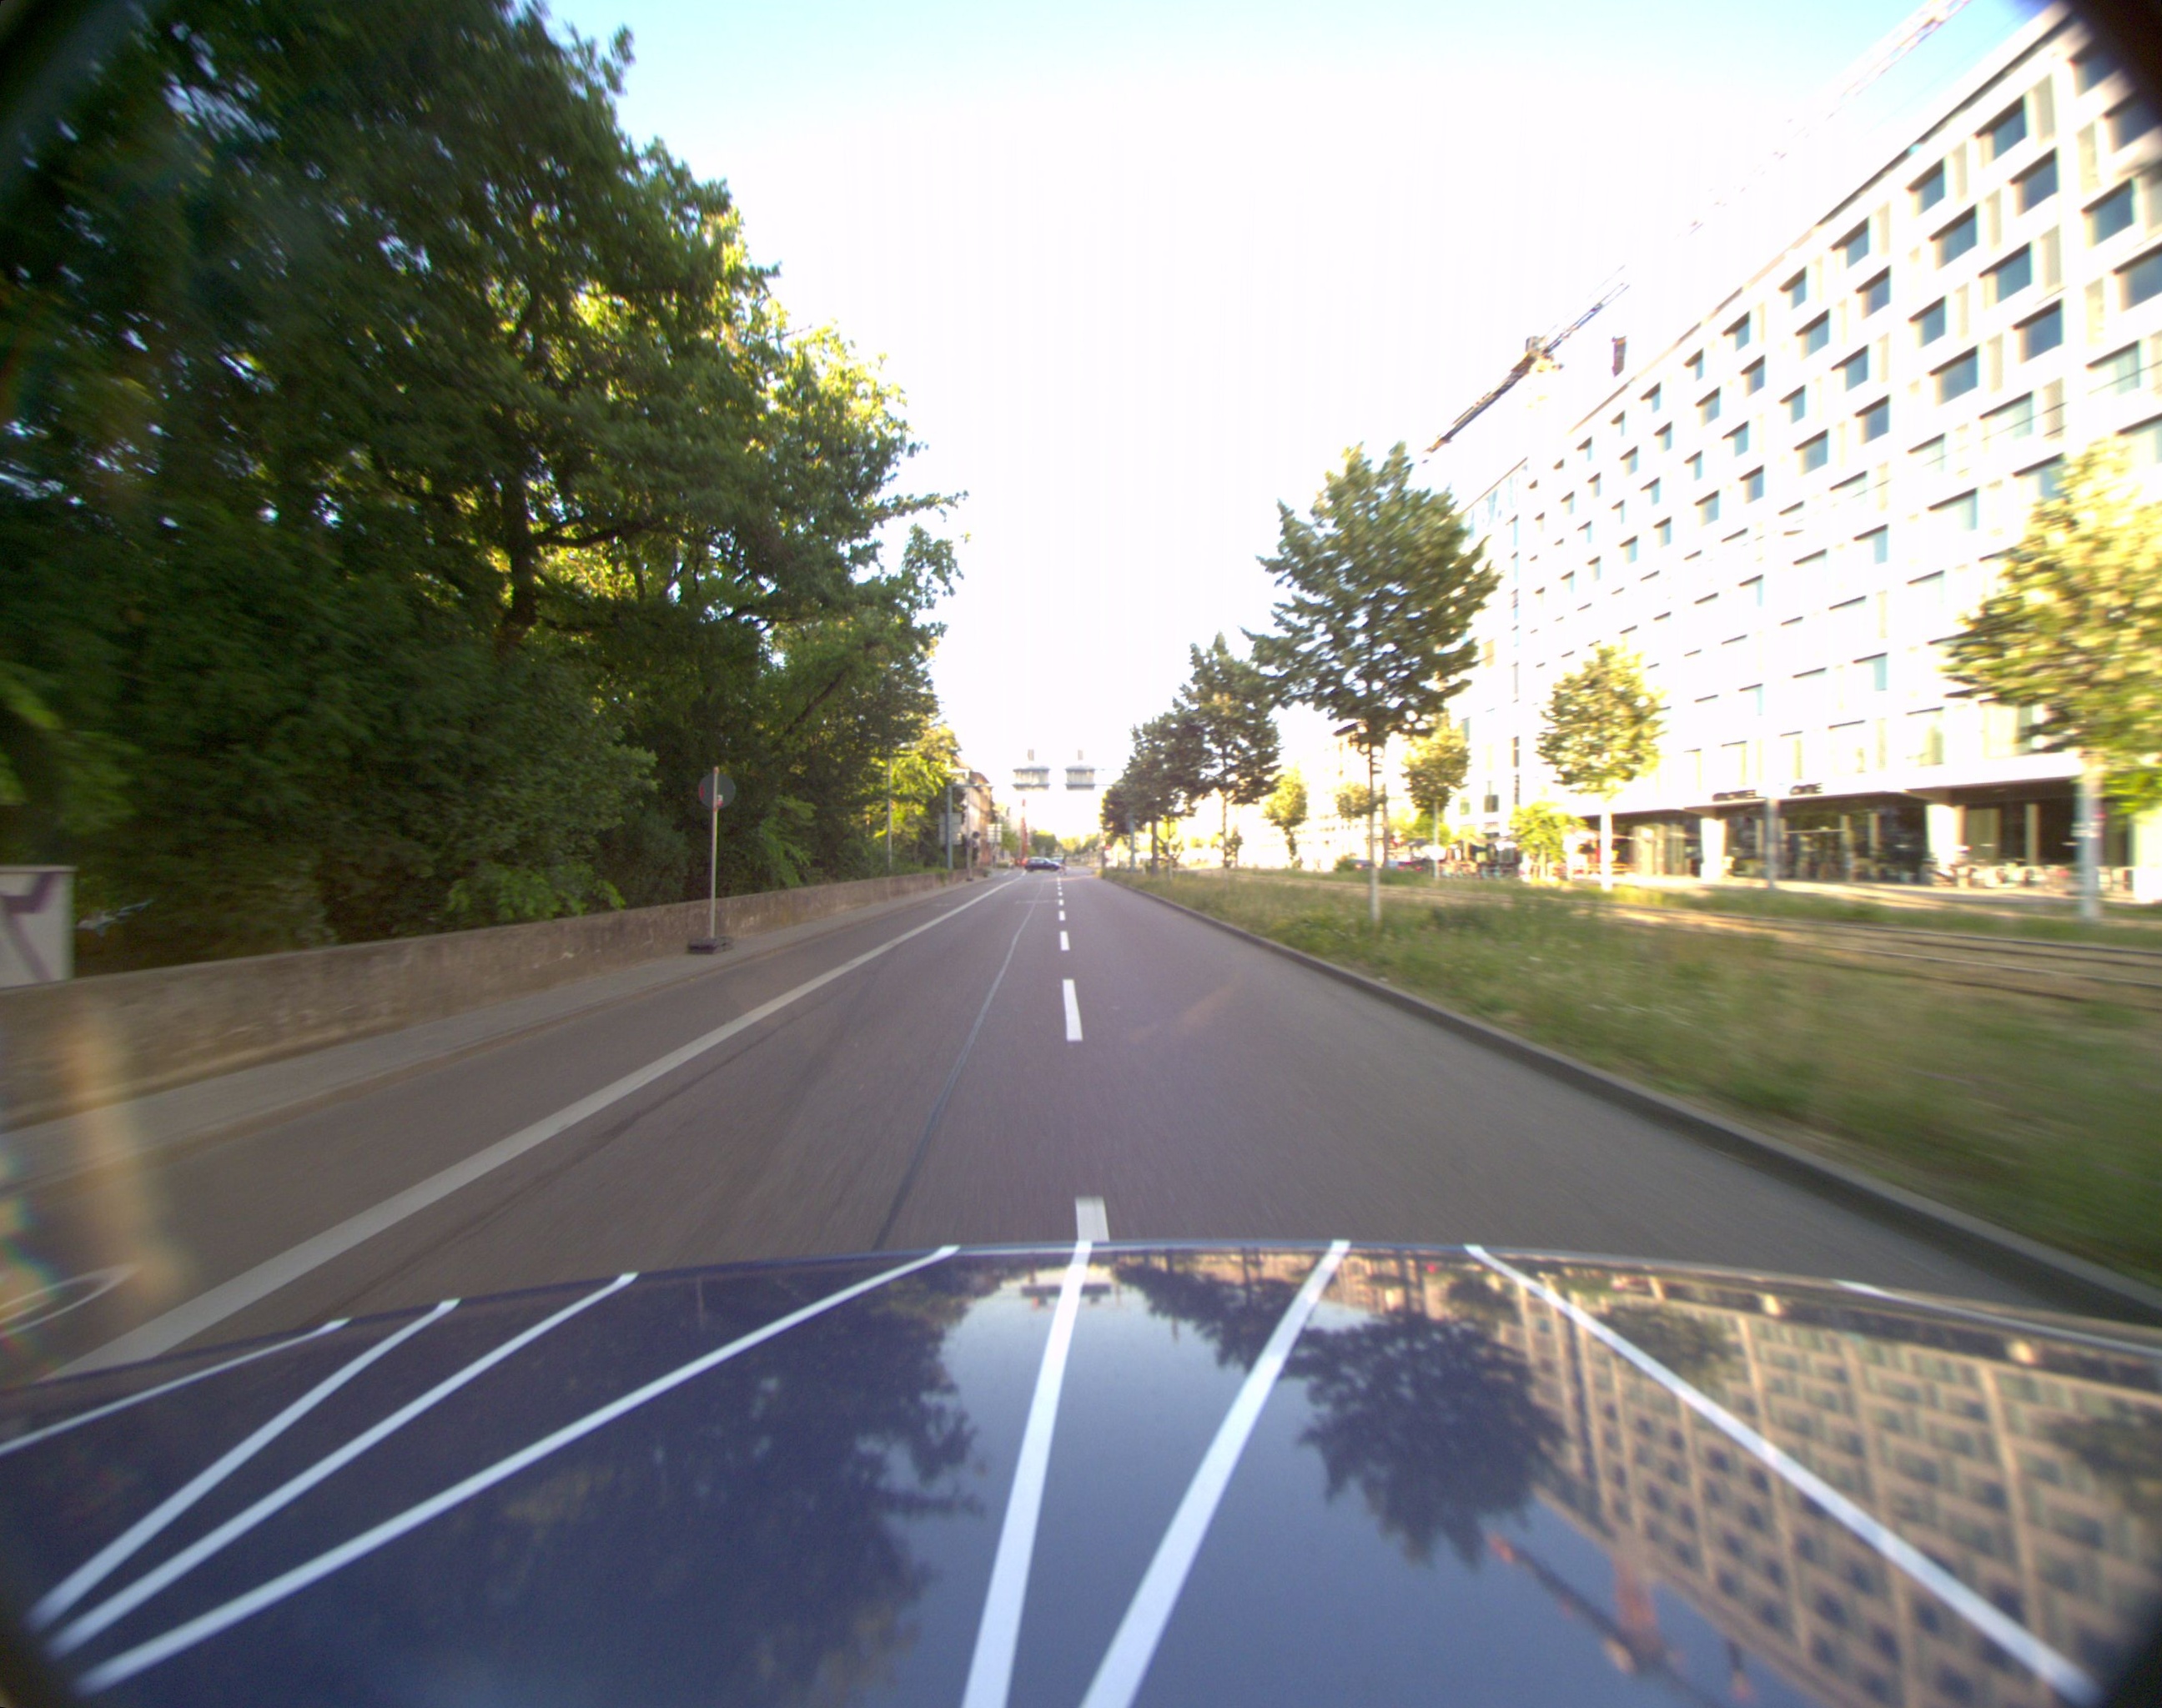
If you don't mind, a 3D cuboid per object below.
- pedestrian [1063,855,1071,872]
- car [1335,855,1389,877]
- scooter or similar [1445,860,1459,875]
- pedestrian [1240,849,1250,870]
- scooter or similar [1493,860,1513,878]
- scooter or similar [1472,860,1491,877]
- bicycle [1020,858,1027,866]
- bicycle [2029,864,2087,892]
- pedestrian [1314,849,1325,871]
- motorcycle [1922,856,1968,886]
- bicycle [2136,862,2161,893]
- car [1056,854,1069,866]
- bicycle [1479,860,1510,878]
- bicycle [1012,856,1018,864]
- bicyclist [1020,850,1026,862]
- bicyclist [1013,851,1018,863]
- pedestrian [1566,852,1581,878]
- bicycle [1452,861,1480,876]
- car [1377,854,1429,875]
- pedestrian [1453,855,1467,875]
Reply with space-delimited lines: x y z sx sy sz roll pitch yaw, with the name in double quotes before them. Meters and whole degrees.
"pedestrian" -1.260 0.826 68.310 0.580 1.495 0.619 0 1 7
"car" 20.404 0.852 55.440 2.020 1.432 4.800 1 0 -2
"scooter or similar" 28.660 1.012 58.700 0.974 1.079 0.338 -3 3 -1
"pedestrian" 14.977 0.499 69.360 0.708 1.825 0.762 -2 0 -3
"scooter or similar" 28.578 1.004 51.464 1.185 1.157 0.338 0 1 -1
"scooter or similar" 28.202 1.038 53.521 1.185 1.210 0.338 0 1 -1
"bicycle" -8.008 1.079 105.546 0.721 1.045 2.043 -2 1 0
"bicycle" 35.979 0.867 27.979 1.747 1.014 0.421 0 0 -5
"pedestrian" 21.043 0.553 67.003 0.680 1.912 0.708 -3 0 0
"motorcycle" 36.132 0.698 31.761 1.899 1.165 0.515 -1 1 -17
"bicycle" 36.166 0.768 25.265 1.793 1.014 0.421 0 0 -5
"car" -2.629 0.883 109.232 1.702 1.588 4.260 -1 0 0
"bicycle" 28.705 1.027 52.754 1.914 1.192 0.443 -2 1 -5
"bicycle" -9.120 0.812 105.729 0.528 1.045 2.048 3 0 2
"bicyclist" -8.025 0.266 105.615 0.705 1.691 0.768 -2 0 1
"bicyclist" -9.101 0.384 105.756 0.510 1.691 0.768 2 2 2
"pedestrian" 30.956 0.689 47.757 0.498 1.590 0.603 -3 1 0
"bicycle" 28.414 1.048 56.069 1.914 1.053 0.443 -2 1 -5
"car" 23.378 0.752 55.338 1.890 1.431 4.223 0 0 -3
"pedestrian" 30.888 0.885 61.930 0.682 1.594 0.707 -3 1 -27
